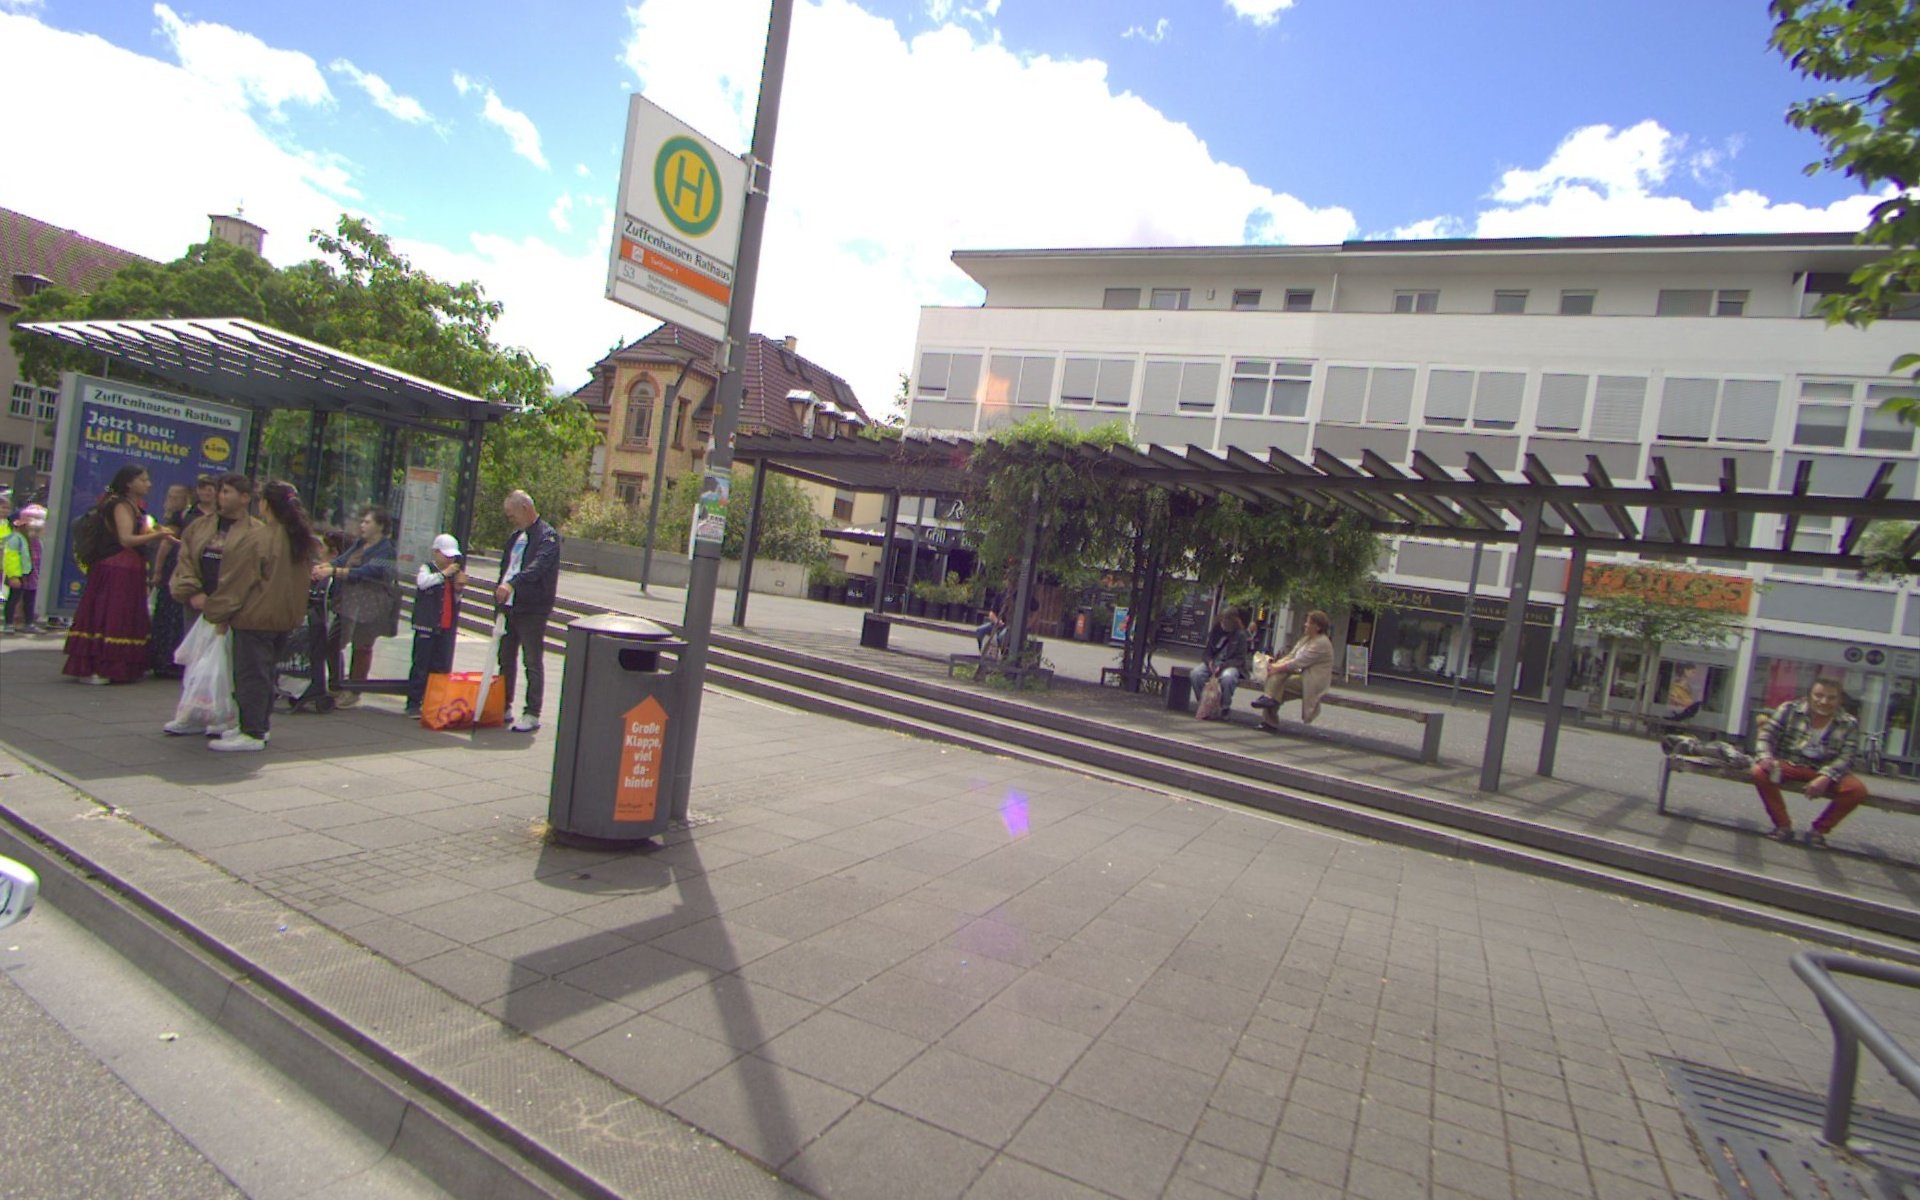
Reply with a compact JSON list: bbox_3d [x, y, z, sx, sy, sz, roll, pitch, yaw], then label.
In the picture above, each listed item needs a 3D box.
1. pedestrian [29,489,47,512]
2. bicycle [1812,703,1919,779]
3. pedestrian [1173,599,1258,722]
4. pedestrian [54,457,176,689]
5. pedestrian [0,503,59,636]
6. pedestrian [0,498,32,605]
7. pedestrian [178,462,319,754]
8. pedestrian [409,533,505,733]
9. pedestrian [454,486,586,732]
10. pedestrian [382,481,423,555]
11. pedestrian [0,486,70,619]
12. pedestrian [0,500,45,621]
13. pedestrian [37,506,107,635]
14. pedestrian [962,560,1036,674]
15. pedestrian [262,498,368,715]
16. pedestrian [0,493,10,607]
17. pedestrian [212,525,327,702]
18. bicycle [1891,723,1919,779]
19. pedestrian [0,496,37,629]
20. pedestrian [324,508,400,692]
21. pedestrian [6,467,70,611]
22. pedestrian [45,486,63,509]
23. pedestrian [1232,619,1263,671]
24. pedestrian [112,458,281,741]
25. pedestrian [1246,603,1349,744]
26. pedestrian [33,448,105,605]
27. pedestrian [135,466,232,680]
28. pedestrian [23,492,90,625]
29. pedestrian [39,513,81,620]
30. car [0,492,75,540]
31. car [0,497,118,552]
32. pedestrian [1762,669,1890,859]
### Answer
[{"bbox_3d":[-53.632,-5.788,58.498,0.482,1.196,0.578,9,-1,-23],"label":"pedestrian"},{"bbox_3d":[20.440,3.135,22.597,0.675,1.324,2.025,7,2,-2],"label":"bicycle"},{"bbox_3d":[2.763,0.656,10.878,0.558,1.242,0.567,7,0,41],"label":"pedestrian"},{"bbox_3d":[-6.123,-0.190,7.312,0.492,1.586,0.497,6,2,-31],"label":"pedestrian"},{"bbox_3d":[-8.447,-0.270,9.109,0.288,1.167,0.297,7,3,30],"label":"pedestrian"},{"bbox_3d":[-11.029,-0.567,11.485,0.470,1.187,0.389,5,2,-21],"label":"pedestrian"},{"bbox_3d":[-4.035,0.051,5.738,0.509,1.569,0.483,6,2,-33],"label":"pedestrian"},{"bbox_3d":[-3.498,0.227,6.998,0.349,1.323,0.389,7,3,33],"label":"pedestrian"},{"bbox_3d":[-3.230,0.063,7.392,0.567,1.702,0.512,7,2,31],"label":"pedestrian"},{"bbox_3d":[-12.143,-1.789,21.914,0.448,1.527,0.502,8,2,41],"label":"pedestrian"},{"bbox_3d":[-9.798,-0.499,10.487,0.588,1.321,0.432,5,2,-3],"label":"pedestrian"},{"bbox_3d":[-9.520,-0.397,10.077,0.345,1.182,0.335,5,2,0],"label":"pedestrian"},{"bbox_3d":[-8.417,-0.278,9.542,0.316,1.167,0.318,6,2,-8],"label":"pedestrian"},{"bbox_3d":[0.499,0.217,12.718,0.538,1.339,0.567,7,0,41],"label":"pedestrian"},{"bbox_3d":[-4.553,0.043,7.105,0.408,1.461,0.378,7,3,25],"label":"pedestrian"},{"bbox_3d":[-8.369,-0.307,8.480,0.400,1.242,0.384,6,2,-37],"label":"pedestrian"},{"bbox_3d":[-5.160,0.095,7.514,0.622,1.227,0.378,7,3,25],"label":"pedestrian"},{"bbox_3d":[21.647,3.445,21.899,0.675,1.157,2.024,7,2,-2],"label":"bicycle"},{"bbox_3d":[-8.700,-0.344,9.237,0.247,1.189,0.251,8,3,40],"label":"pedestrian"},{"bbox_3d":[-4.964,0.003,8.358,0.314,1.477,0.275,7,1,6],"label":"pedestrian"},{"bbox_3d":[-10.204,-0.666,11.137,0.384,1.537,0.389,7,2,38],"label":"pedestrian"},{"bbox_3d":[-53.513,-6.078,59.435,0.482,1.236,0.578,9,-1,-23],"label":"pedestrian"},{"bbox_3d":[7.855,1.217,27.508,0.535,1.339,0.570,7,0,5],"label":"pedestrian"},{"bbox_3d":[-4.530,0.000,6.000,0.535,1.569,0.485,6,1,-15],"label":"pedestrian"},{"bbox_3d":[3.426,0.735,10.186,0.757,1.284,0.676,7,0,27],"label":"pedestrian"},{"bbox_3d":[-10.924,-0.892,12.332,0.430,1.847,0.538,8,3,43],"label":"pedestrian"},{"bbox_3d":[-6.000,-0.204,7.788,0.389,1.586,0.350,6,1,-22],"label":"pedestrian"},{"bbox_3d":[-8.809,-0.396,9.811,0.328,1.254,0.323,7,3,23],"label":"pedestrian"},{"bbox_3d":[-9.322,-0.345,10.419,0.249,1.083,0.250,8,3,42],"label":"pedestrian"},{"bbox_3d":[-38.217,-3.491,40.139,4.241,1.596,1.826,7,0,-44],"label":"car"},{"bbox_3d":[-30.644,-2.526,33.739,1.585,1.399,3.835,8,-1,-4],"label":"car"},{"bbox_3d":[6.634,1.227,7.740,0.537,1.324,0.624,8,2,35],"label":"pedestrian"}]
